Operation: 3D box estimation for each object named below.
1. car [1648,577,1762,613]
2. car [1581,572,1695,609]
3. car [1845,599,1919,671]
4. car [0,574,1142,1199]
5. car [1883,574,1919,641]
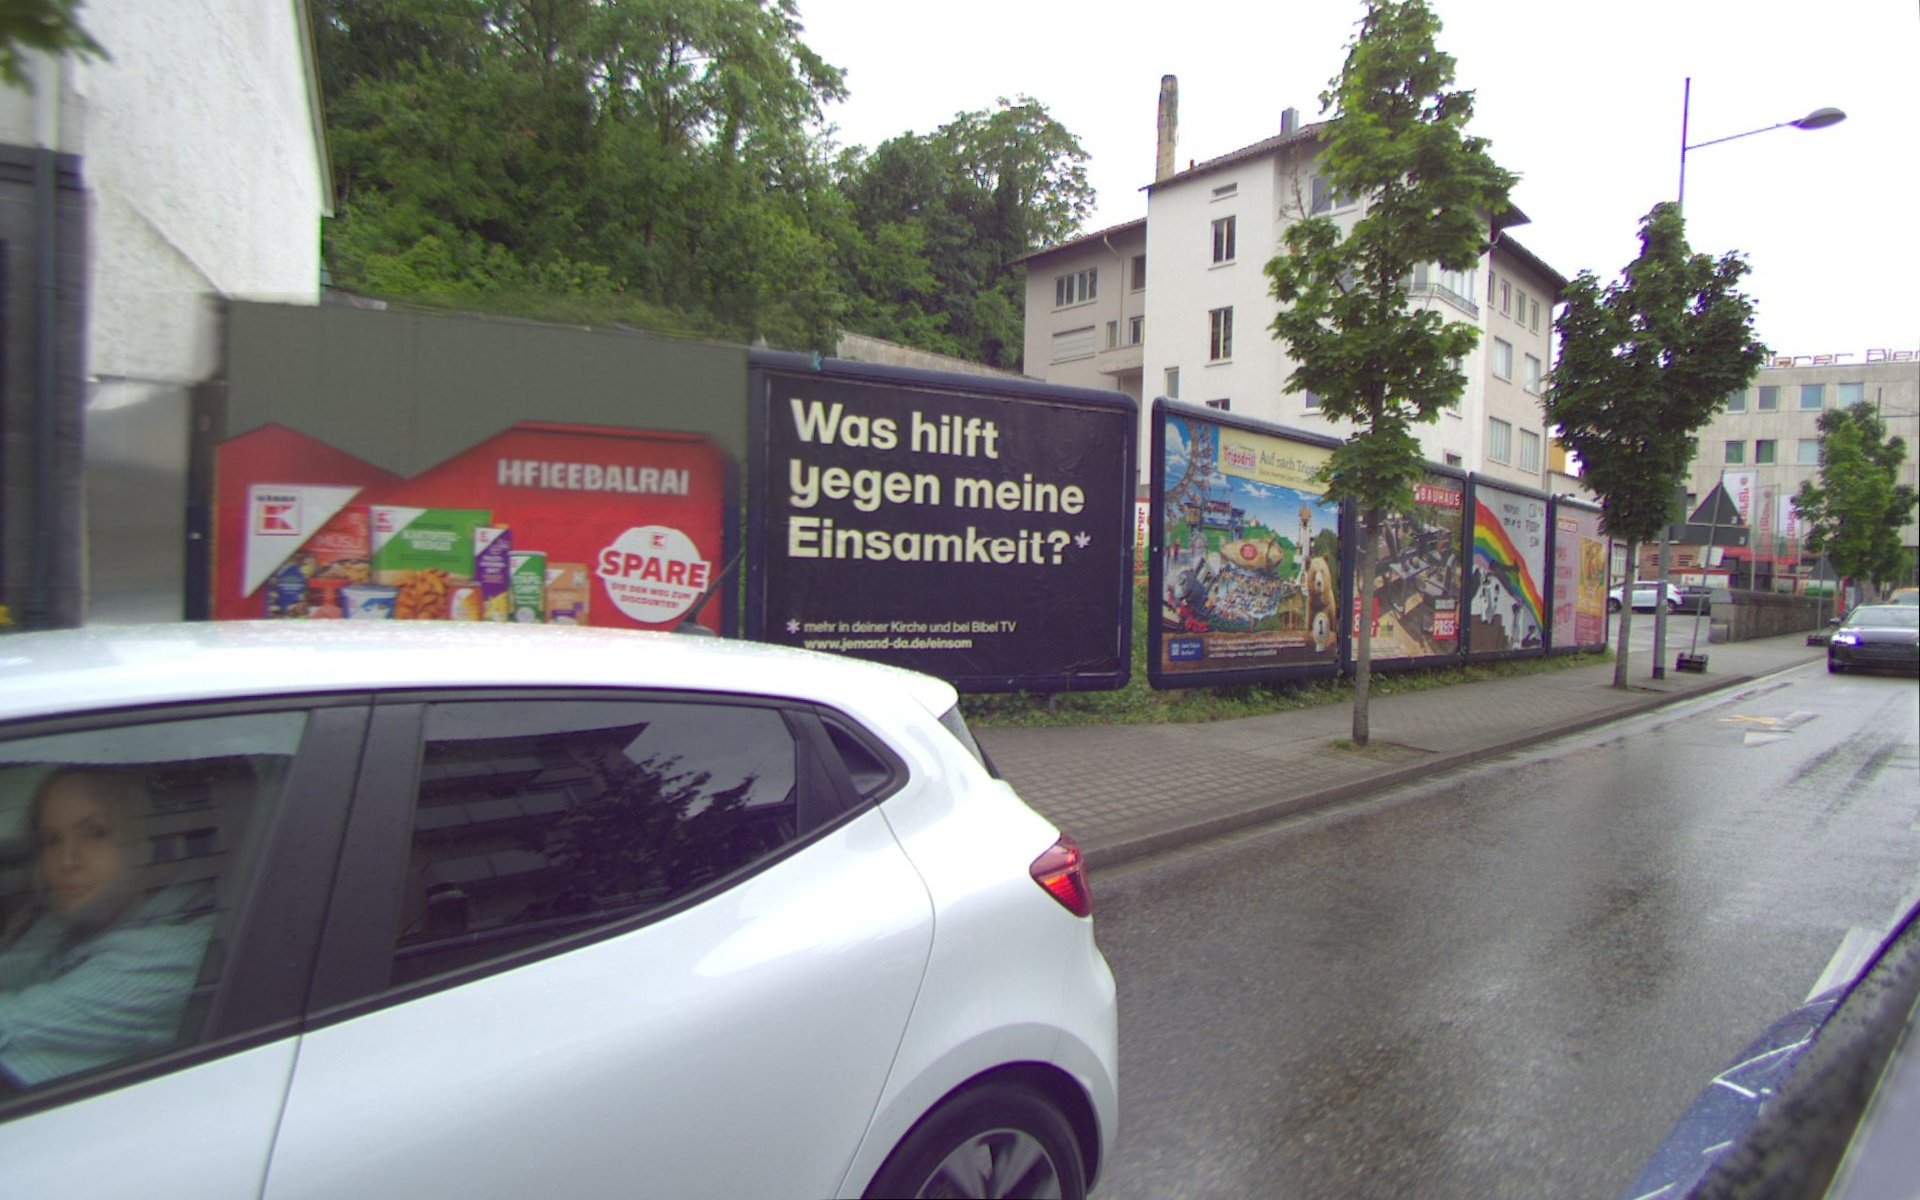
[{"bbox_3d":[38.255,-0.257,52.062,4.179,1.595,1.939,3,0,12],"label":"car"},{"bbox_3d":[33.483,-0.472,50.106,4.171,1.595,1.942,3,0,6],"label":"car"},{"bbox_3d":[19.873,0.672,21.134,4.208,1.356,1.808,0,0,-45],"label":"car"},{"bbox_3d":[-1.697,0.718,1.273,3.931,1.420,1.680,0,4,-42],"label":"car"},{"bbox_3d":[32.446,0.210,33.463,5.831,2.111,2.197,-1,2,-41],"label":"car"}]
